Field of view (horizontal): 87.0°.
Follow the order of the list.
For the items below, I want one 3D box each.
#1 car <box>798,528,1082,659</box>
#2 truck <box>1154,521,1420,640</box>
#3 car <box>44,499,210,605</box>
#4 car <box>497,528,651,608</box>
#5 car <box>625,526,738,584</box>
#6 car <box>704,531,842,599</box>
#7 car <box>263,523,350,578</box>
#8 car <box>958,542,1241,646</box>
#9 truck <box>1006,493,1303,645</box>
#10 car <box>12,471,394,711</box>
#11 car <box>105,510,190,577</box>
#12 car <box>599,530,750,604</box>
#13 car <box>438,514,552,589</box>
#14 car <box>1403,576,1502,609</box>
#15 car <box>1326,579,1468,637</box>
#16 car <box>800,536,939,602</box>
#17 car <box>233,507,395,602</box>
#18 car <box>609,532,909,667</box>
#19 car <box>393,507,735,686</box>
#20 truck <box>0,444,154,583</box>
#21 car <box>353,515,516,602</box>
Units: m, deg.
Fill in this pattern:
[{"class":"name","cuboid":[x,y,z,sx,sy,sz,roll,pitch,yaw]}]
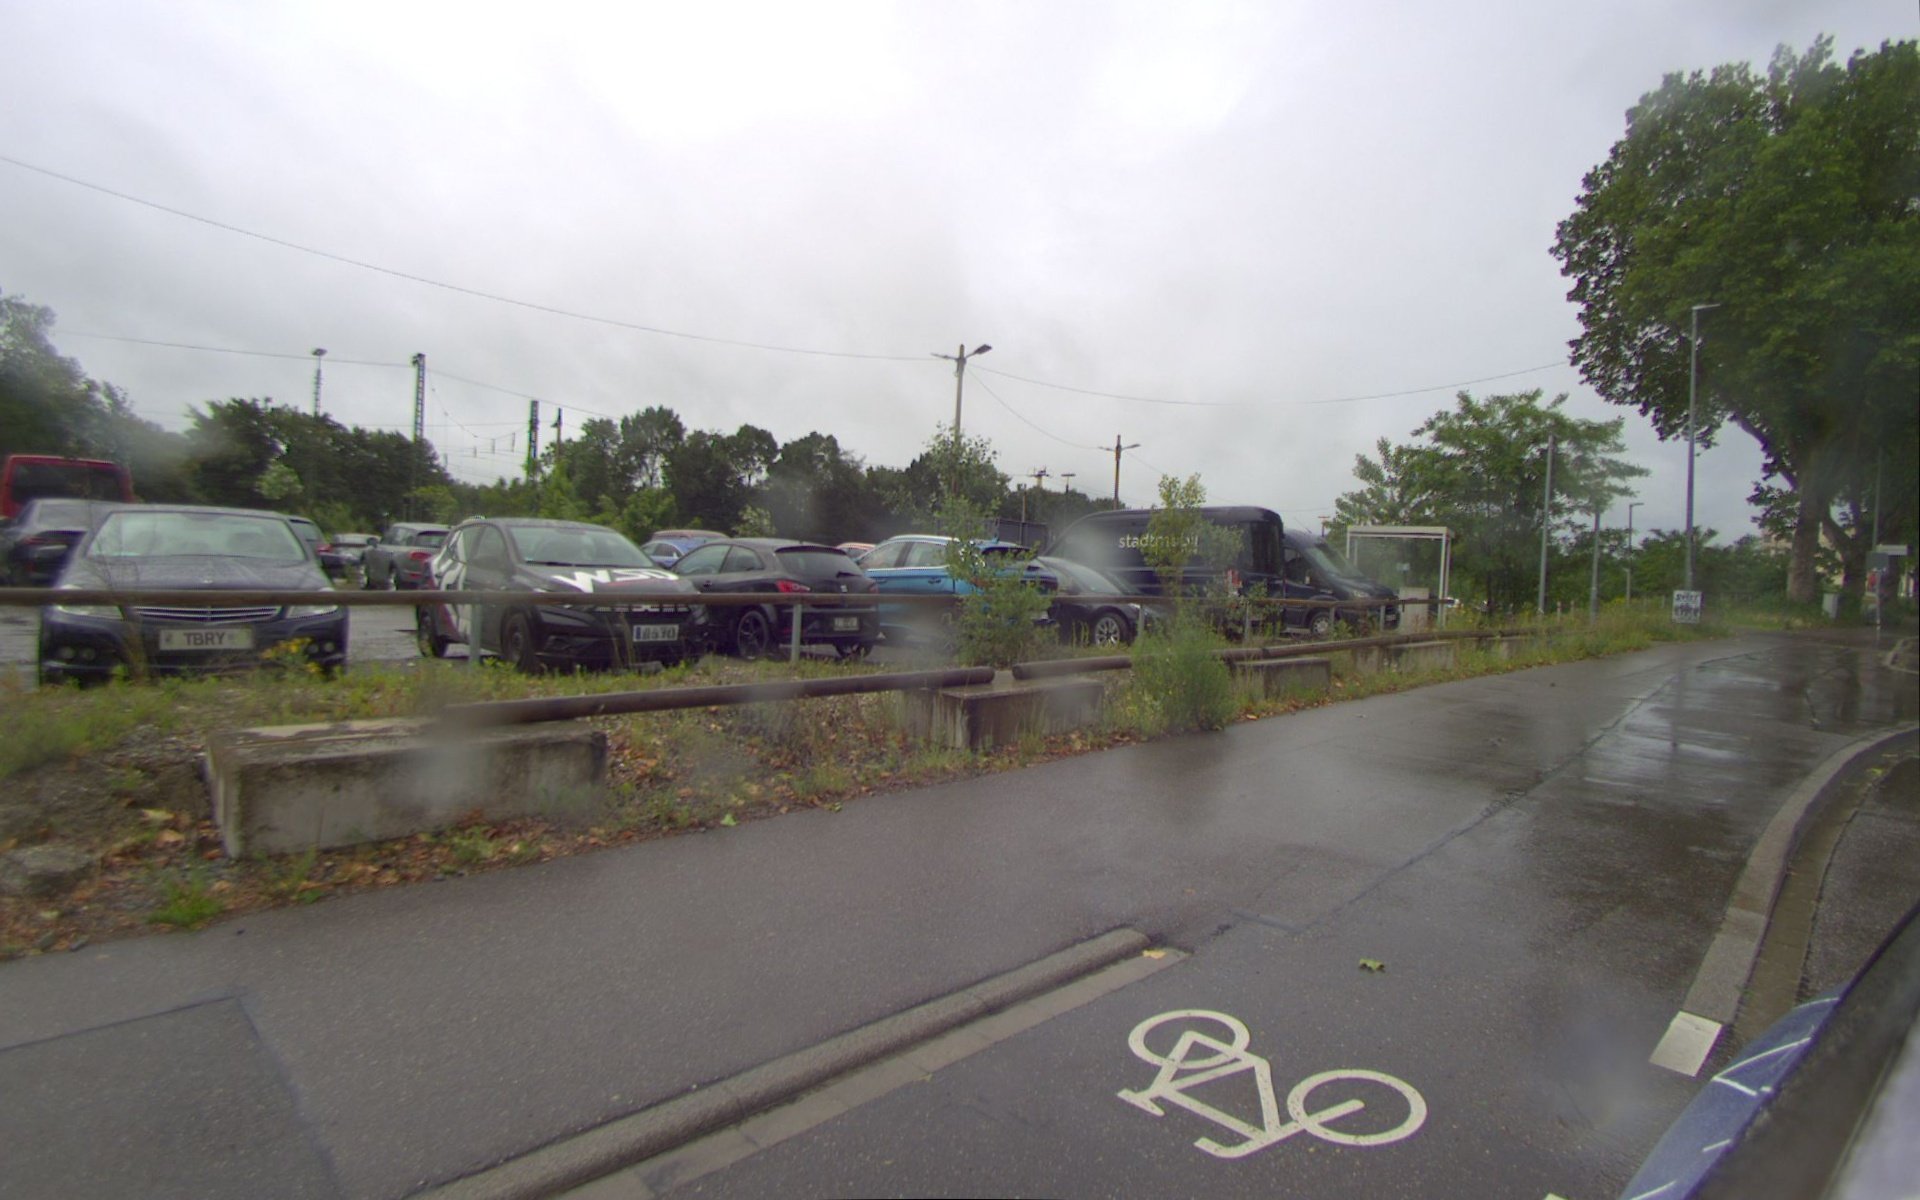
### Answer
[{"class":"car","cuboid":[-0.384,-0.173,14.509,3.897,1.614,1.867,3,3,44]},{"class":"truck","cuboid":[7.181,-0.498,22.720,2.040,2.351,5.335,0,2,-43]},{"class":"car","cuboid":[-13.325,-0.820,16.154,1.854,1.444,3.961,-1,5,-41]},{"class":"car","cuboid":[-8.346,-0.739,21.691,1.790,1.444,3.961,-1,5,-41]},{"class":"car","cuboid":[-8.614,-1.409,31.125,1.735,1.660,3.993,0,3,-42]},{"class":"car","cuboid":[-4.881,-0.949,26.022,1.678,1.497,3.961,-1,5,-41]},{"class":"car","cuboid":[-20.885,-1.590,32.276,1.663,1.605,4.169,0,3,-43]},{"class":"car","cuboid":[2.104,-0.181,16.030,4.160,1.437,1.834,3,3,44]},{"class":"truck","cuboid":[3.442,-0.607,18.695,5.034,2.432,2.077,3,2,44]},{"class":"car","cuboid":[-6.210,-0.145,8.134,3.897,1.440,1.876,3,3,44]},{"class":"car","cuboid":[-23.816,-1.644,29.605,1.663,1.787,3.972,0,3,-43]},{"class":"car","cuboid":[-6.932,-0.835,24.317,1.893,1.508,4.074,-1,5,-41]},{"class":"car","cuboid":[-12.344,-1.296,26.746,1.765,1.822,3.997,0,3,-39]},{"class":"car","cuboid":[25.842,-0.411,53.150,4.369,1.447,1.853,4,3,35]},{"class":"car","cuboid":[13.770,0.212,32.078,3.956,1.521,1.862,4,2,23]},{"class":"car","cuboid":[-2.561,-0.886,27.848,1.776,1.555,3.961,-1,5,-41]},{"class":"car","cuboid":[-11.574,-0.858,18.016,1.854,1.444,3.961,-1,5,-41]},{"class":"car","cuboid":[-2.601,-0.095,12.540,3.897,1.411,1.751,3,3,44]},{"class":"car","cuboid":[-4.095,-0.120,10.145,3.897,1.440,1.751,3,3,44]},{"class":"truck","cuboid":[-17.854,-1.697,20.305,2.117,2.396,5.295,1,3,-44]},{"class":"car","cuboid":[-10.272,-0.856,19.636,1.855,1.444,3.960,-1,5,-42]}]
